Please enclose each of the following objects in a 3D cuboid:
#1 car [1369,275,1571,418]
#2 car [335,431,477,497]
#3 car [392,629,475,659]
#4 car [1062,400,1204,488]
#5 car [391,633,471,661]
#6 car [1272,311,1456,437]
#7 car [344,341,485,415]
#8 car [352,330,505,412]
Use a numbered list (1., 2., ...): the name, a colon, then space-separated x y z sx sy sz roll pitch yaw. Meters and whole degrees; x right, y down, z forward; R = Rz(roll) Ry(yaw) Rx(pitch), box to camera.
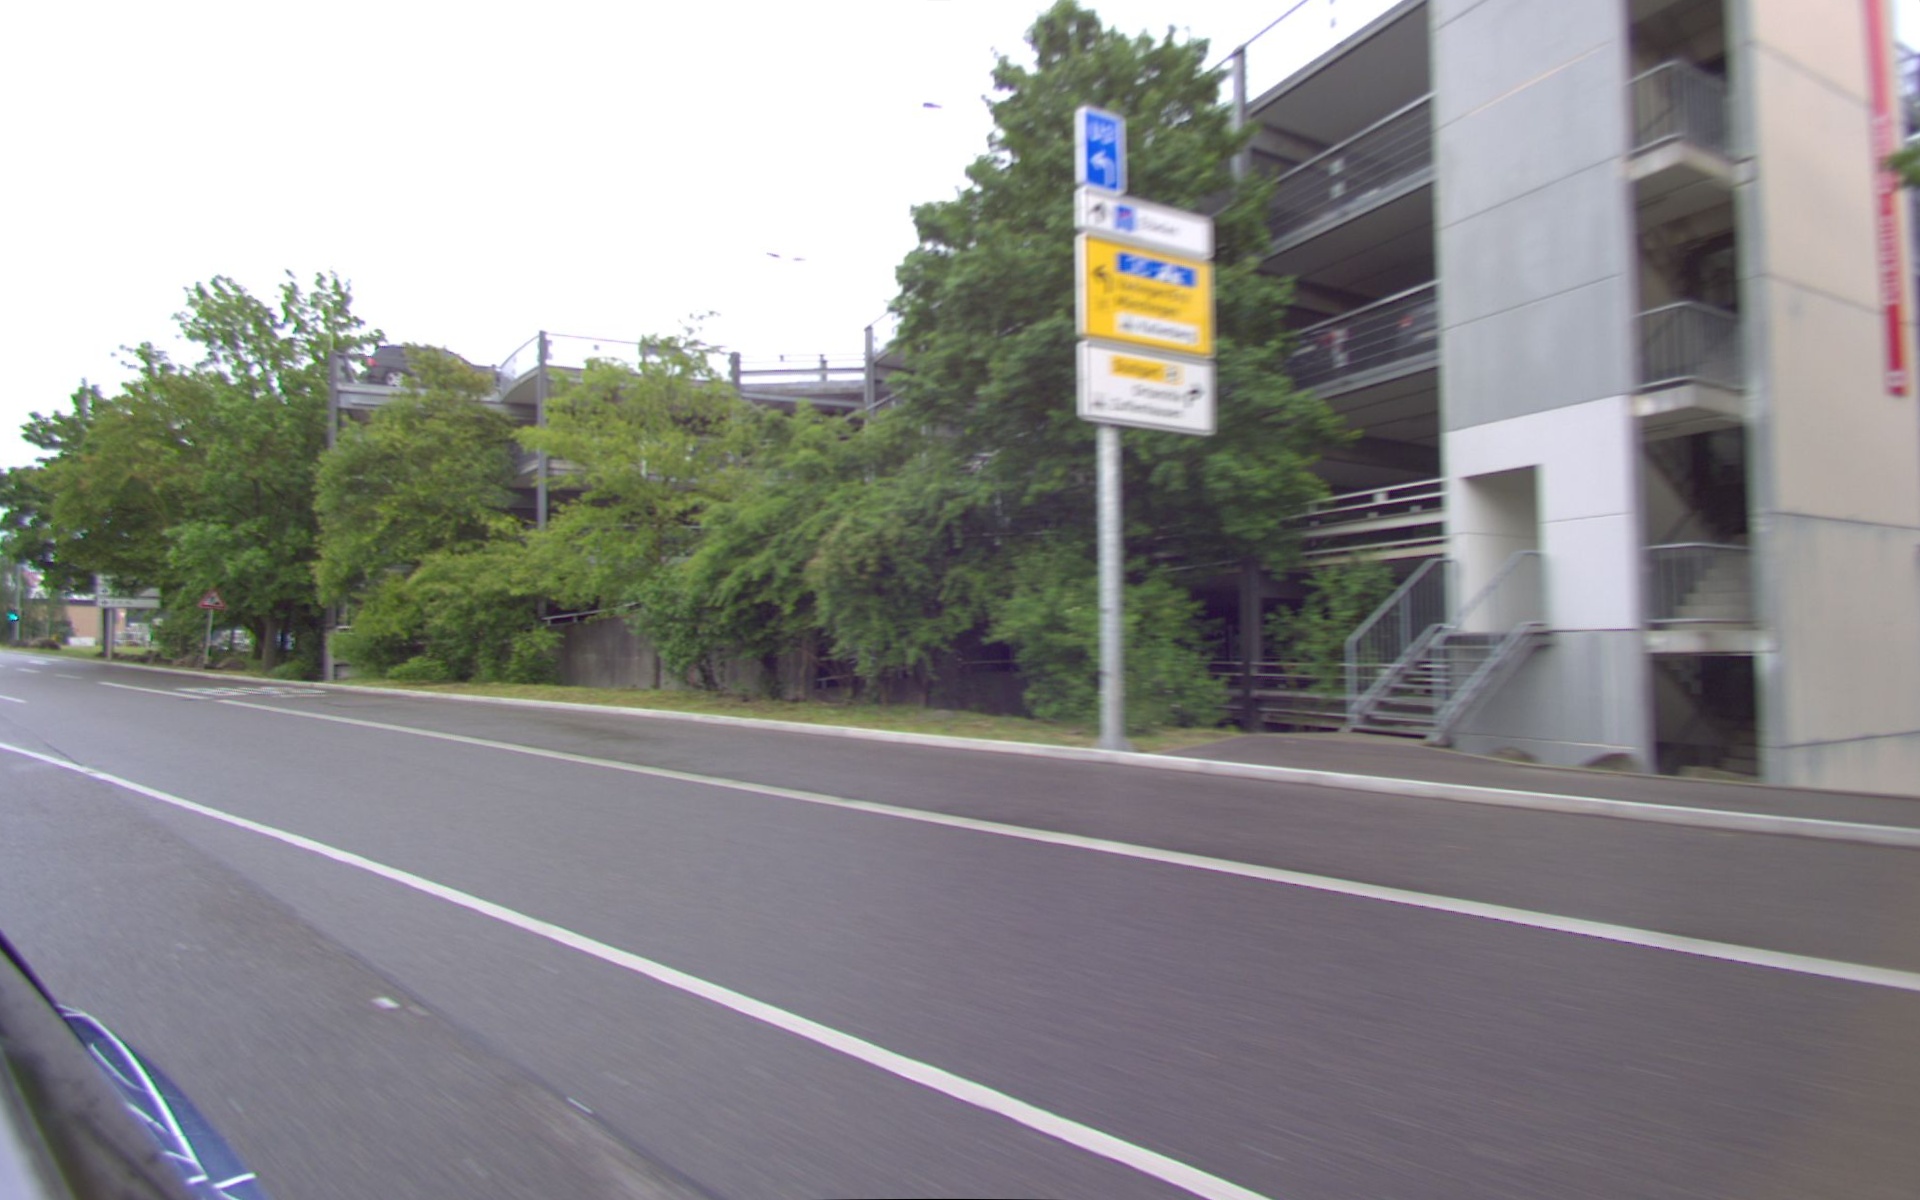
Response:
1. car: 8.731 -4.235 17.309 3.188 1.530 1.591 3 -3 -30
2. car: -18.333 -4.490 33.732 3.930 1.530 2.006 2 -3 -23
3. car: -29.105 2.443 56.067 3.930 1.530 2.006 2 -3 -23
4. car: 4.292 -3.798 25.044 3.188 1.530 1.591 3 -3 -30
5. car: -30.556 2.735 58.597 3.930 1.530 2.006 2 -3 -25
6. car: 7.592 -4.157 19.004 3.188 1.530 1.591 3 -3 -30
7. car: -18.166 -7.381 33.926 3.930 1.530 2.006 2 -3 -23
8. car: -16.033 -6.894 30.759 3.930 1.530 2.006 2 -3 -23
